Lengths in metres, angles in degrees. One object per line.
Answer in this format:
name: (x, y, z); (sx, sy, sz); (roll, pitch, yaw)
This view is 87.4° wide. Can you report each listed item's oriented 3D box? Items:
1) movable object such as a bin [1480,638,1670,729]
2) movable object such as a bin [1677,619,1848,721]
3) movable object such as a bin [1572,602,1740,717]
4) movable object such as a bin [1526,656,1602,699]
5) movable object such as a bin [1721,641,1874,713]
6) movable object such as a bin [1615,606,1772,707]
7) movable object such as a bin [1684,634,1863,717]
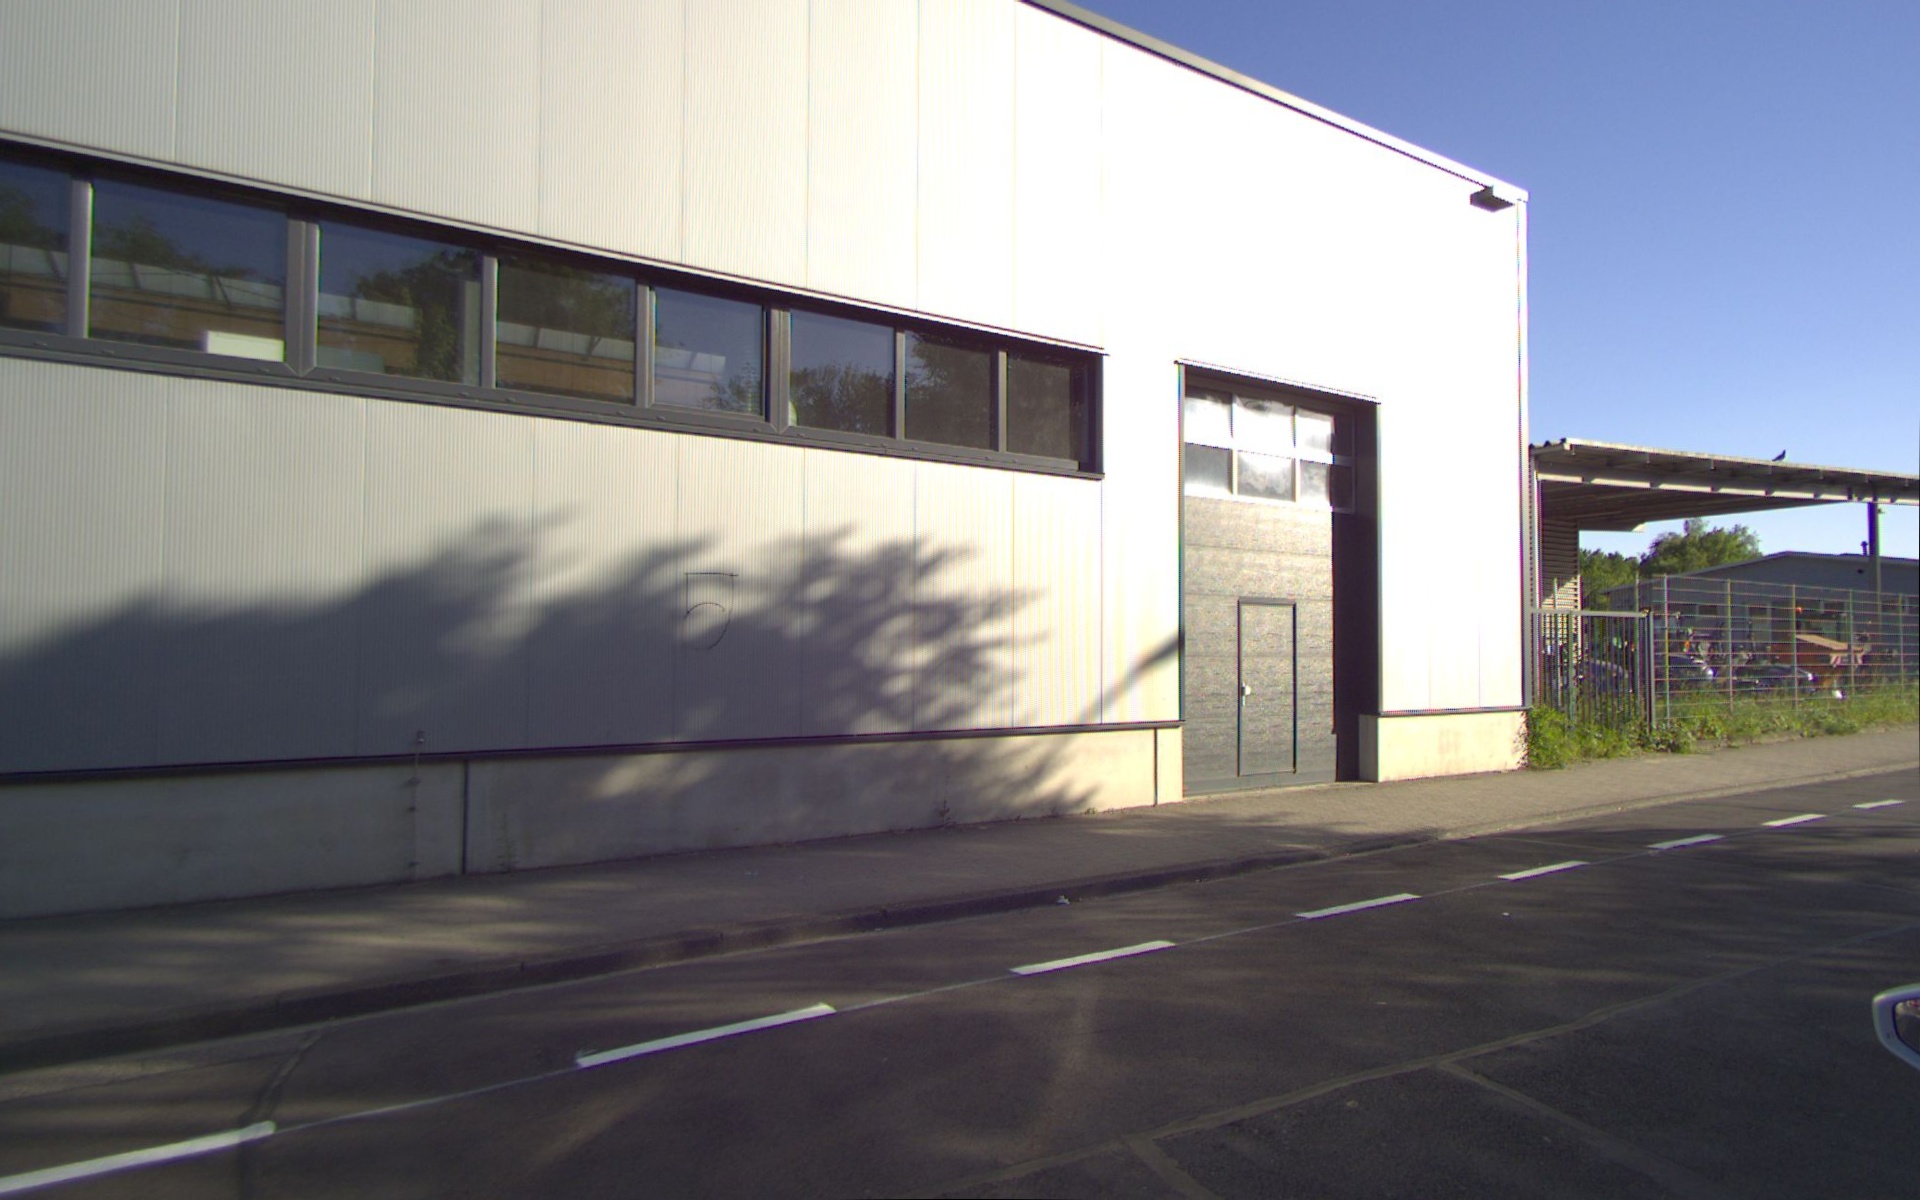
movable object such as a bin: (11.906, 1.567, 19.708); (1.594, 1.634, 3.406); (0, -2, 0)
movable object such as a bin: (18.255, 1.568, 22.996); (1.470, 2.177, 2.889); (0, -2, -3)
movable object such as a bin: (14.229, 1.195, 20.701); (1.493, 2.193, 2.773); (0, -2, 0)
movable object such as a bin: (20.309, 2.585, 33.762); (2.608, 1.349, 1.160); (1, -3, -34)
movable object such as a bin: (21.201, 1.901, 25.495); (1.509, 1.702, 2.624); (1, -3, -31)
movable object such as a bin: (16.648, 1.273, 22.936); (1.358, 2.154, 2.799); (0, -2, -5)
movable object such as a bin: (19.651, 1.779, 24.370); (1.508, 1.859, 3.023); (1, -3, -31)
